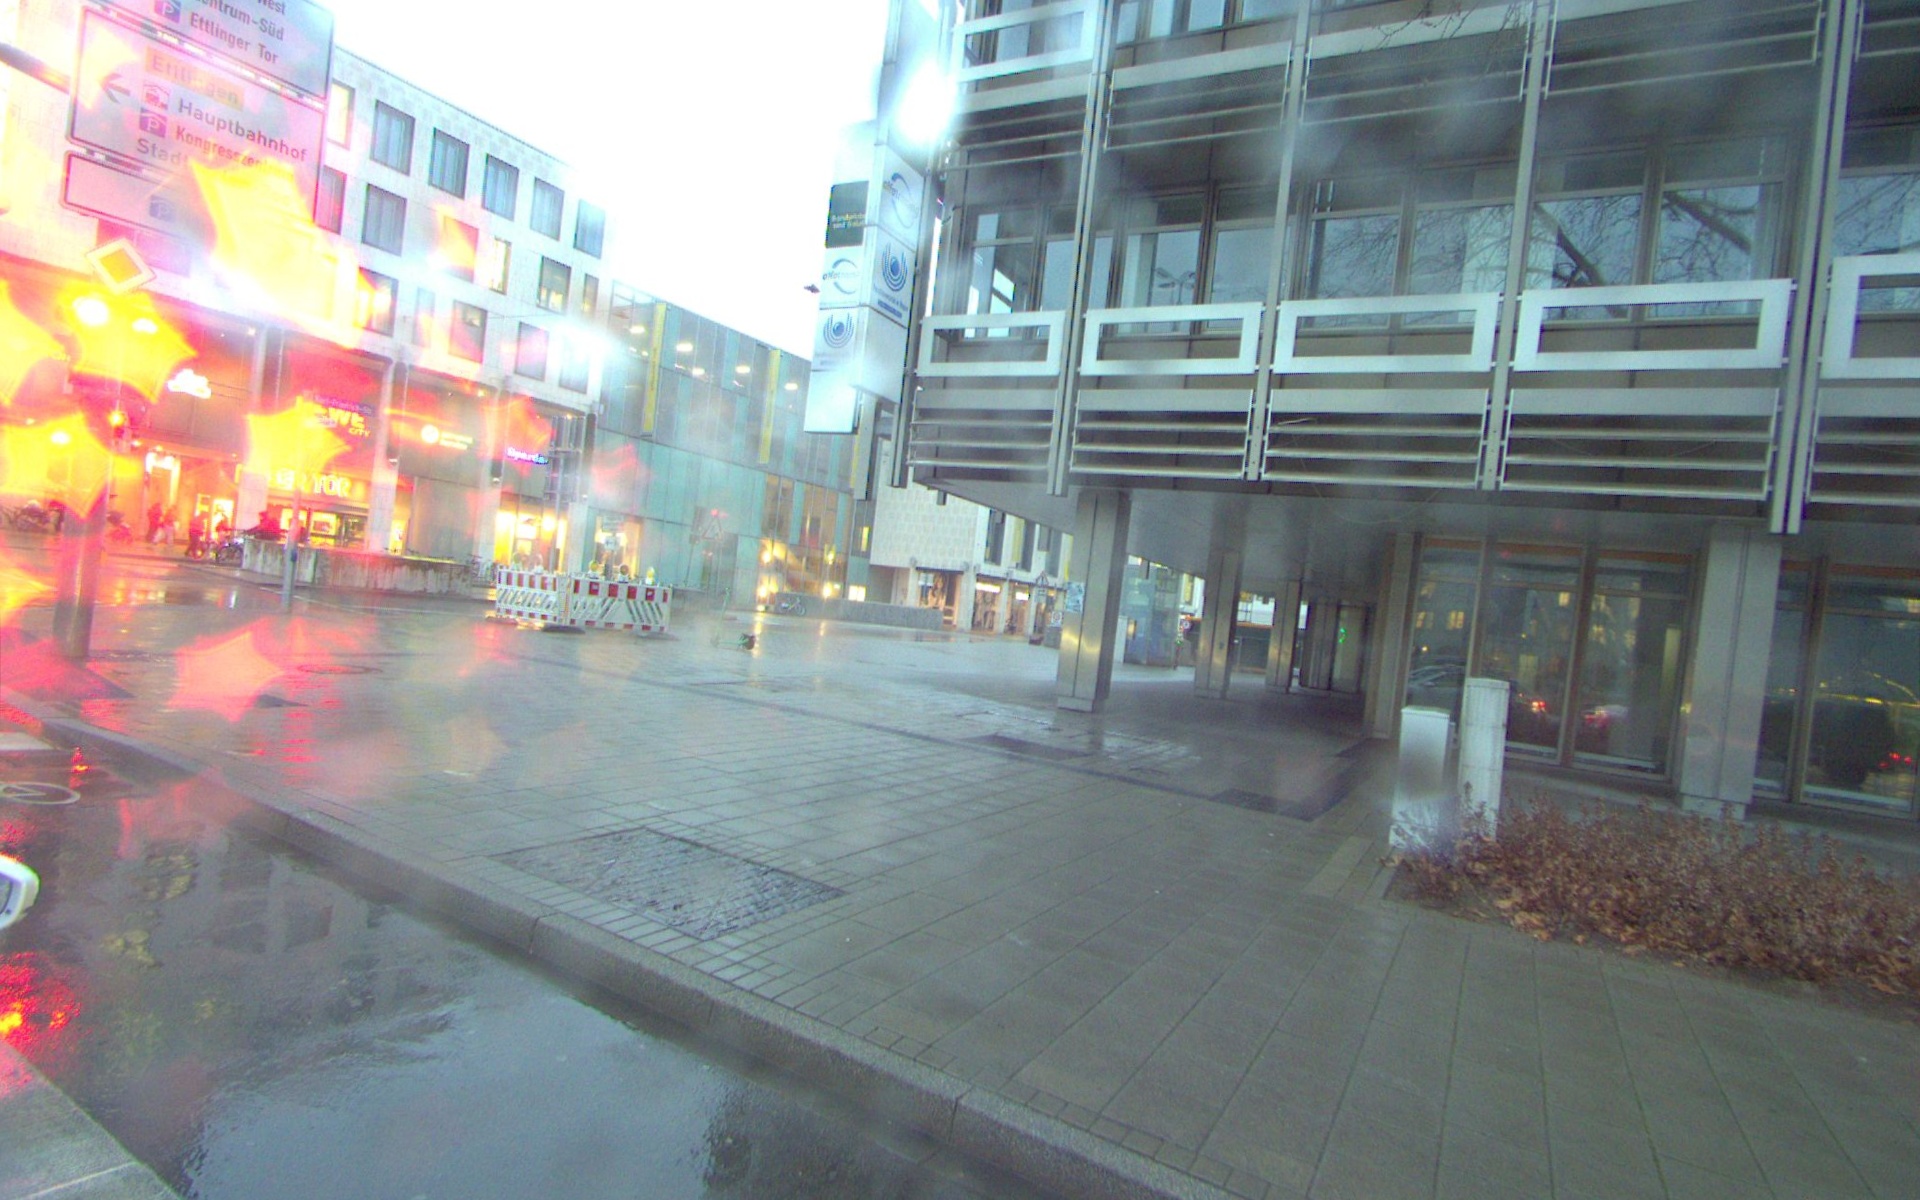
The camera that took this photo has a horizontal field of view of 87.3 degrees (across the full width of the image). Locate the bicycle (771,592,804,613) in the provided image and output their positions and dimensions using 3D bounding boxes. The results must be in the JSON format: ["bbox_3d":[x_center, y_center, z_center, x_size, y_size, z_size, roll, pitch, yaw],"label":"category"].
[{"bbox_3d":[-10.594,0.170,61.785,2.101,1.046,0.616,6,0,33],"label":"bicycle"}]

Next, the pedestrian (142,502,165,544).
[{"bbox_3d":[-35.376,-3.364,44.144,0.529,1.739,0.500,6,1,-21],"label":"pedestrian"}]

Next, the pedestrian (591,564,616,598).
[{"bbox_3d":[-18.333,-0.968,51.755,0.697,1.650,0.795,6,-1,31],"label":"pedestrian"}]

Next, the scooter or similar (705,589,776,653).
[{"bbox_3d":[-4.423,0.422,20.230,1.215,1.144,0.606,7,0,32],"label":"scooter or similar"}]

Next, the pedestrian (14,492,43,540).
[{"bbox_3d":[-35.649,-3.200,38.498,0.529,1.739,0.500,6,1,-21],"label":"pedestrian"}]

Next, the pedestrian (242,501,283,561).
[{"bbox_3d":[-20.123,-1.994,29.028,0.778,1.615,0.605,6,1,-43],"label":"pedestrian"}]

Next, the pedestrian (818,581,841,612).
[{"bbox_3d":[-9.208,-0.215,71.062,1.006,2.037,0.906,6,-1,31],"label":"pedestrian"}]

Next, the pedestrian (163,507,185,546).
[{"bbox_3d":[-36.063,-3.370,46.184,0.529,1.739,0.500,6,1,-21],"label":"pedestrian"}]

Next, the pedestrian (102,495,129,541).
[{"bbox_3d":[-33.286,-3.221,39.663,0.529,1.739,0.500,6,1,-21],"label":"pedestrian"}]

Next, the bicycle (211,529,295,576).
[{"bbox_3d":[-20.314,-1.345,28.929,1.839,1.107,0.610,7,0,-44],"label":"bicycle"}]

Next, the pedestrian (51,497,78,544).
[{"bbox_3d":[-35.019,-3.087,39.345,0.529,1.739,0.500,6,1,-21],"label":"pedestrian"}]

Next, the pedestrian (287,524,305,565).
[{"bbox_3d":[-30.393,-2.537,46.061,0.510,1.782,0.370,6,1,-41],"label":"pedestrian"}]

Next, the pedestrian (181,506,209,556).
[{"bbox_3d":[-27.597,-2.474,36.301,0.529,1.706,0.546,6,1,-21],"label":"pedestrian"}]
